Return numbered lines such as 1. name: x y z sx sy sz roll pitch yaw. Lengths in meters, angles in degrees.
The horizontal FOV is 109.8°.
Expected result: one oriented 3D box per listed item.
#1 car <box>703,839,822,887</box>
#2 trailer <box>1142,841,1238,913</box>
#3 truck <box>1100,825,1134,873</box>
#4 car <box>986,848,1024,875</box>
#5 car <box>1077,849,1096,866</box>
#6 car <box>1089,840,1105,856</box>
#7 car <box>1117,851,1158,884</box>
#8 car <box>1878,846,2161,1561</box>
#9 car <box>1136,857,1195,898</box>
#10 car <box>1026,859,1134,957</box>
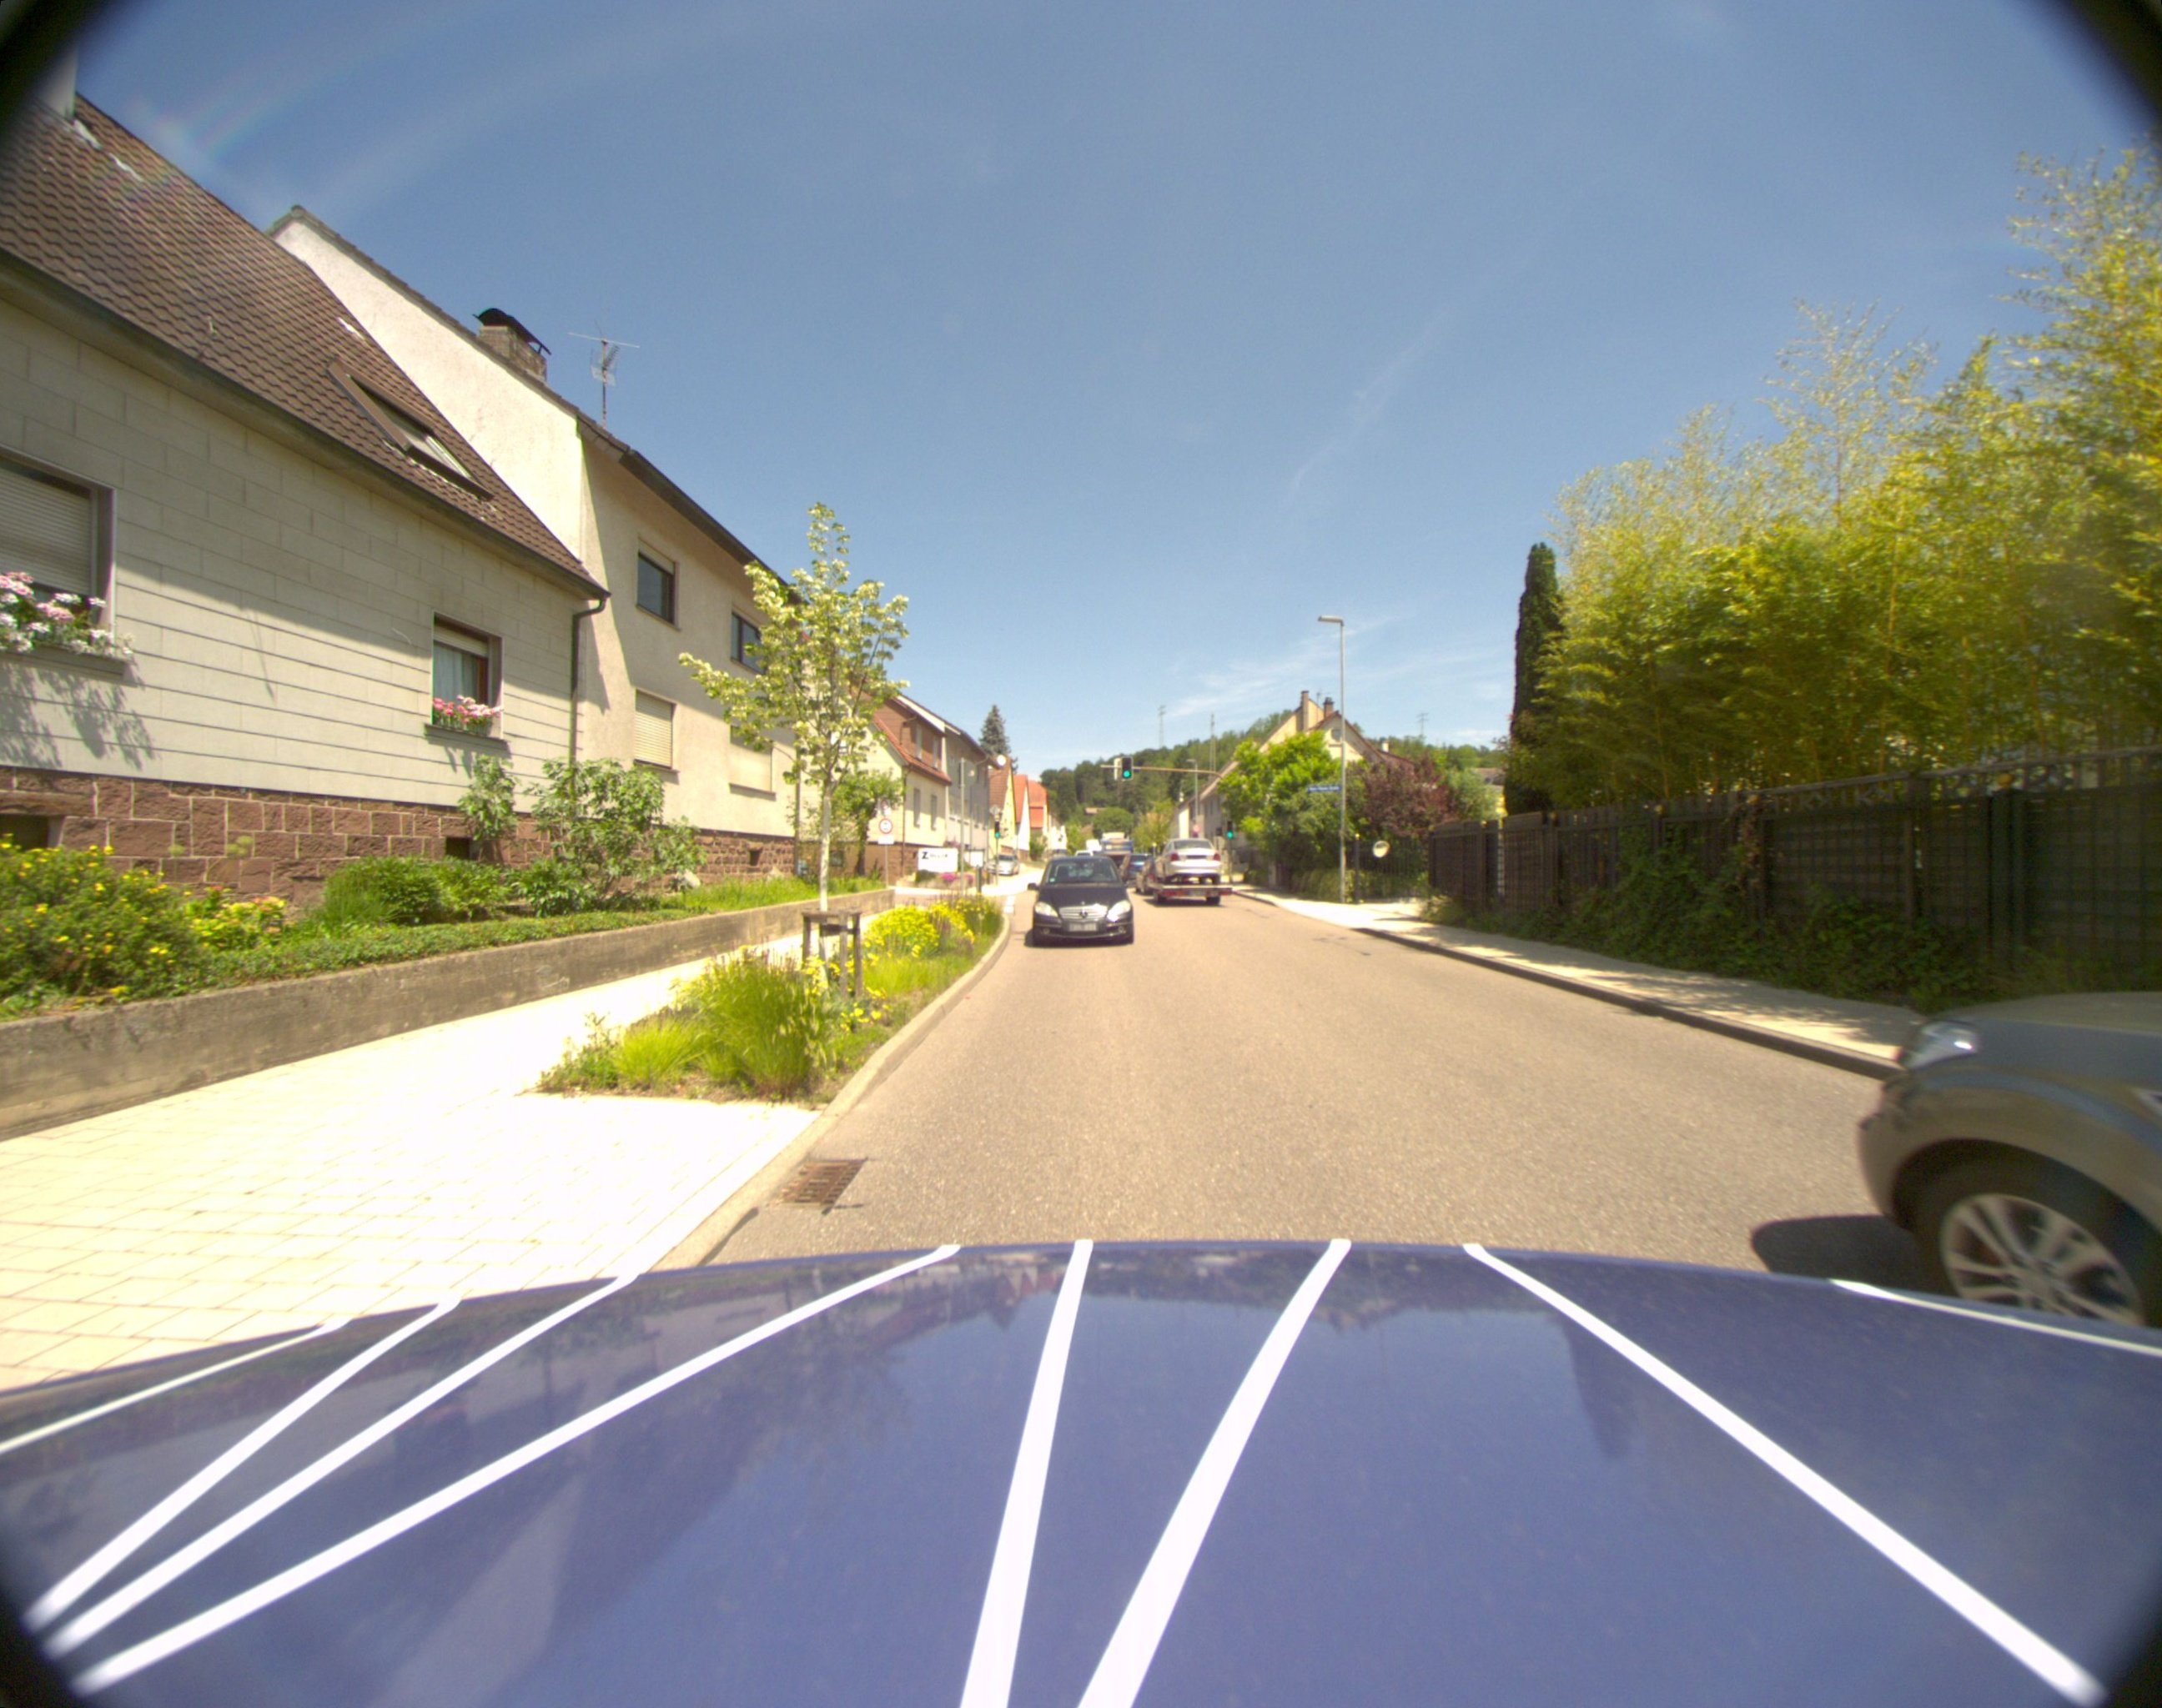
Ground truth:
1. car: -11.662 0.297 27.974 3.522 1.484 1.800 3 1 3
2. trailer: 3.327 0.603 24.566 2.161 1.975 6.200 -2 1 0
3. truck: 3.045 -0.398 63.305 2.547 3.716 8.623 1 0 3
4. car: -5.131 0.457 51.971 1.867 1.612 4.508 3 1 3
5. car: 0.594 0.367 81.556 1.998 1.716 4.000 -2 0 0
6. car: 2.248 -0.831 104.083 1.986 2.170 4.000 -2 1 3
7. car: 3.083 0.705 42.083 1.893 1.636 4.612 1 1 0
8. car: 3.381 0.783 0.366 1.872 1.643 3.949 -2 0 1
9. car: 3.215 0.851 29.596 1.771 1.394 4.247 -2 1 0
10. car: 0.110 0.923 15.141 1.767 1.572 4.932 -2 0 3
